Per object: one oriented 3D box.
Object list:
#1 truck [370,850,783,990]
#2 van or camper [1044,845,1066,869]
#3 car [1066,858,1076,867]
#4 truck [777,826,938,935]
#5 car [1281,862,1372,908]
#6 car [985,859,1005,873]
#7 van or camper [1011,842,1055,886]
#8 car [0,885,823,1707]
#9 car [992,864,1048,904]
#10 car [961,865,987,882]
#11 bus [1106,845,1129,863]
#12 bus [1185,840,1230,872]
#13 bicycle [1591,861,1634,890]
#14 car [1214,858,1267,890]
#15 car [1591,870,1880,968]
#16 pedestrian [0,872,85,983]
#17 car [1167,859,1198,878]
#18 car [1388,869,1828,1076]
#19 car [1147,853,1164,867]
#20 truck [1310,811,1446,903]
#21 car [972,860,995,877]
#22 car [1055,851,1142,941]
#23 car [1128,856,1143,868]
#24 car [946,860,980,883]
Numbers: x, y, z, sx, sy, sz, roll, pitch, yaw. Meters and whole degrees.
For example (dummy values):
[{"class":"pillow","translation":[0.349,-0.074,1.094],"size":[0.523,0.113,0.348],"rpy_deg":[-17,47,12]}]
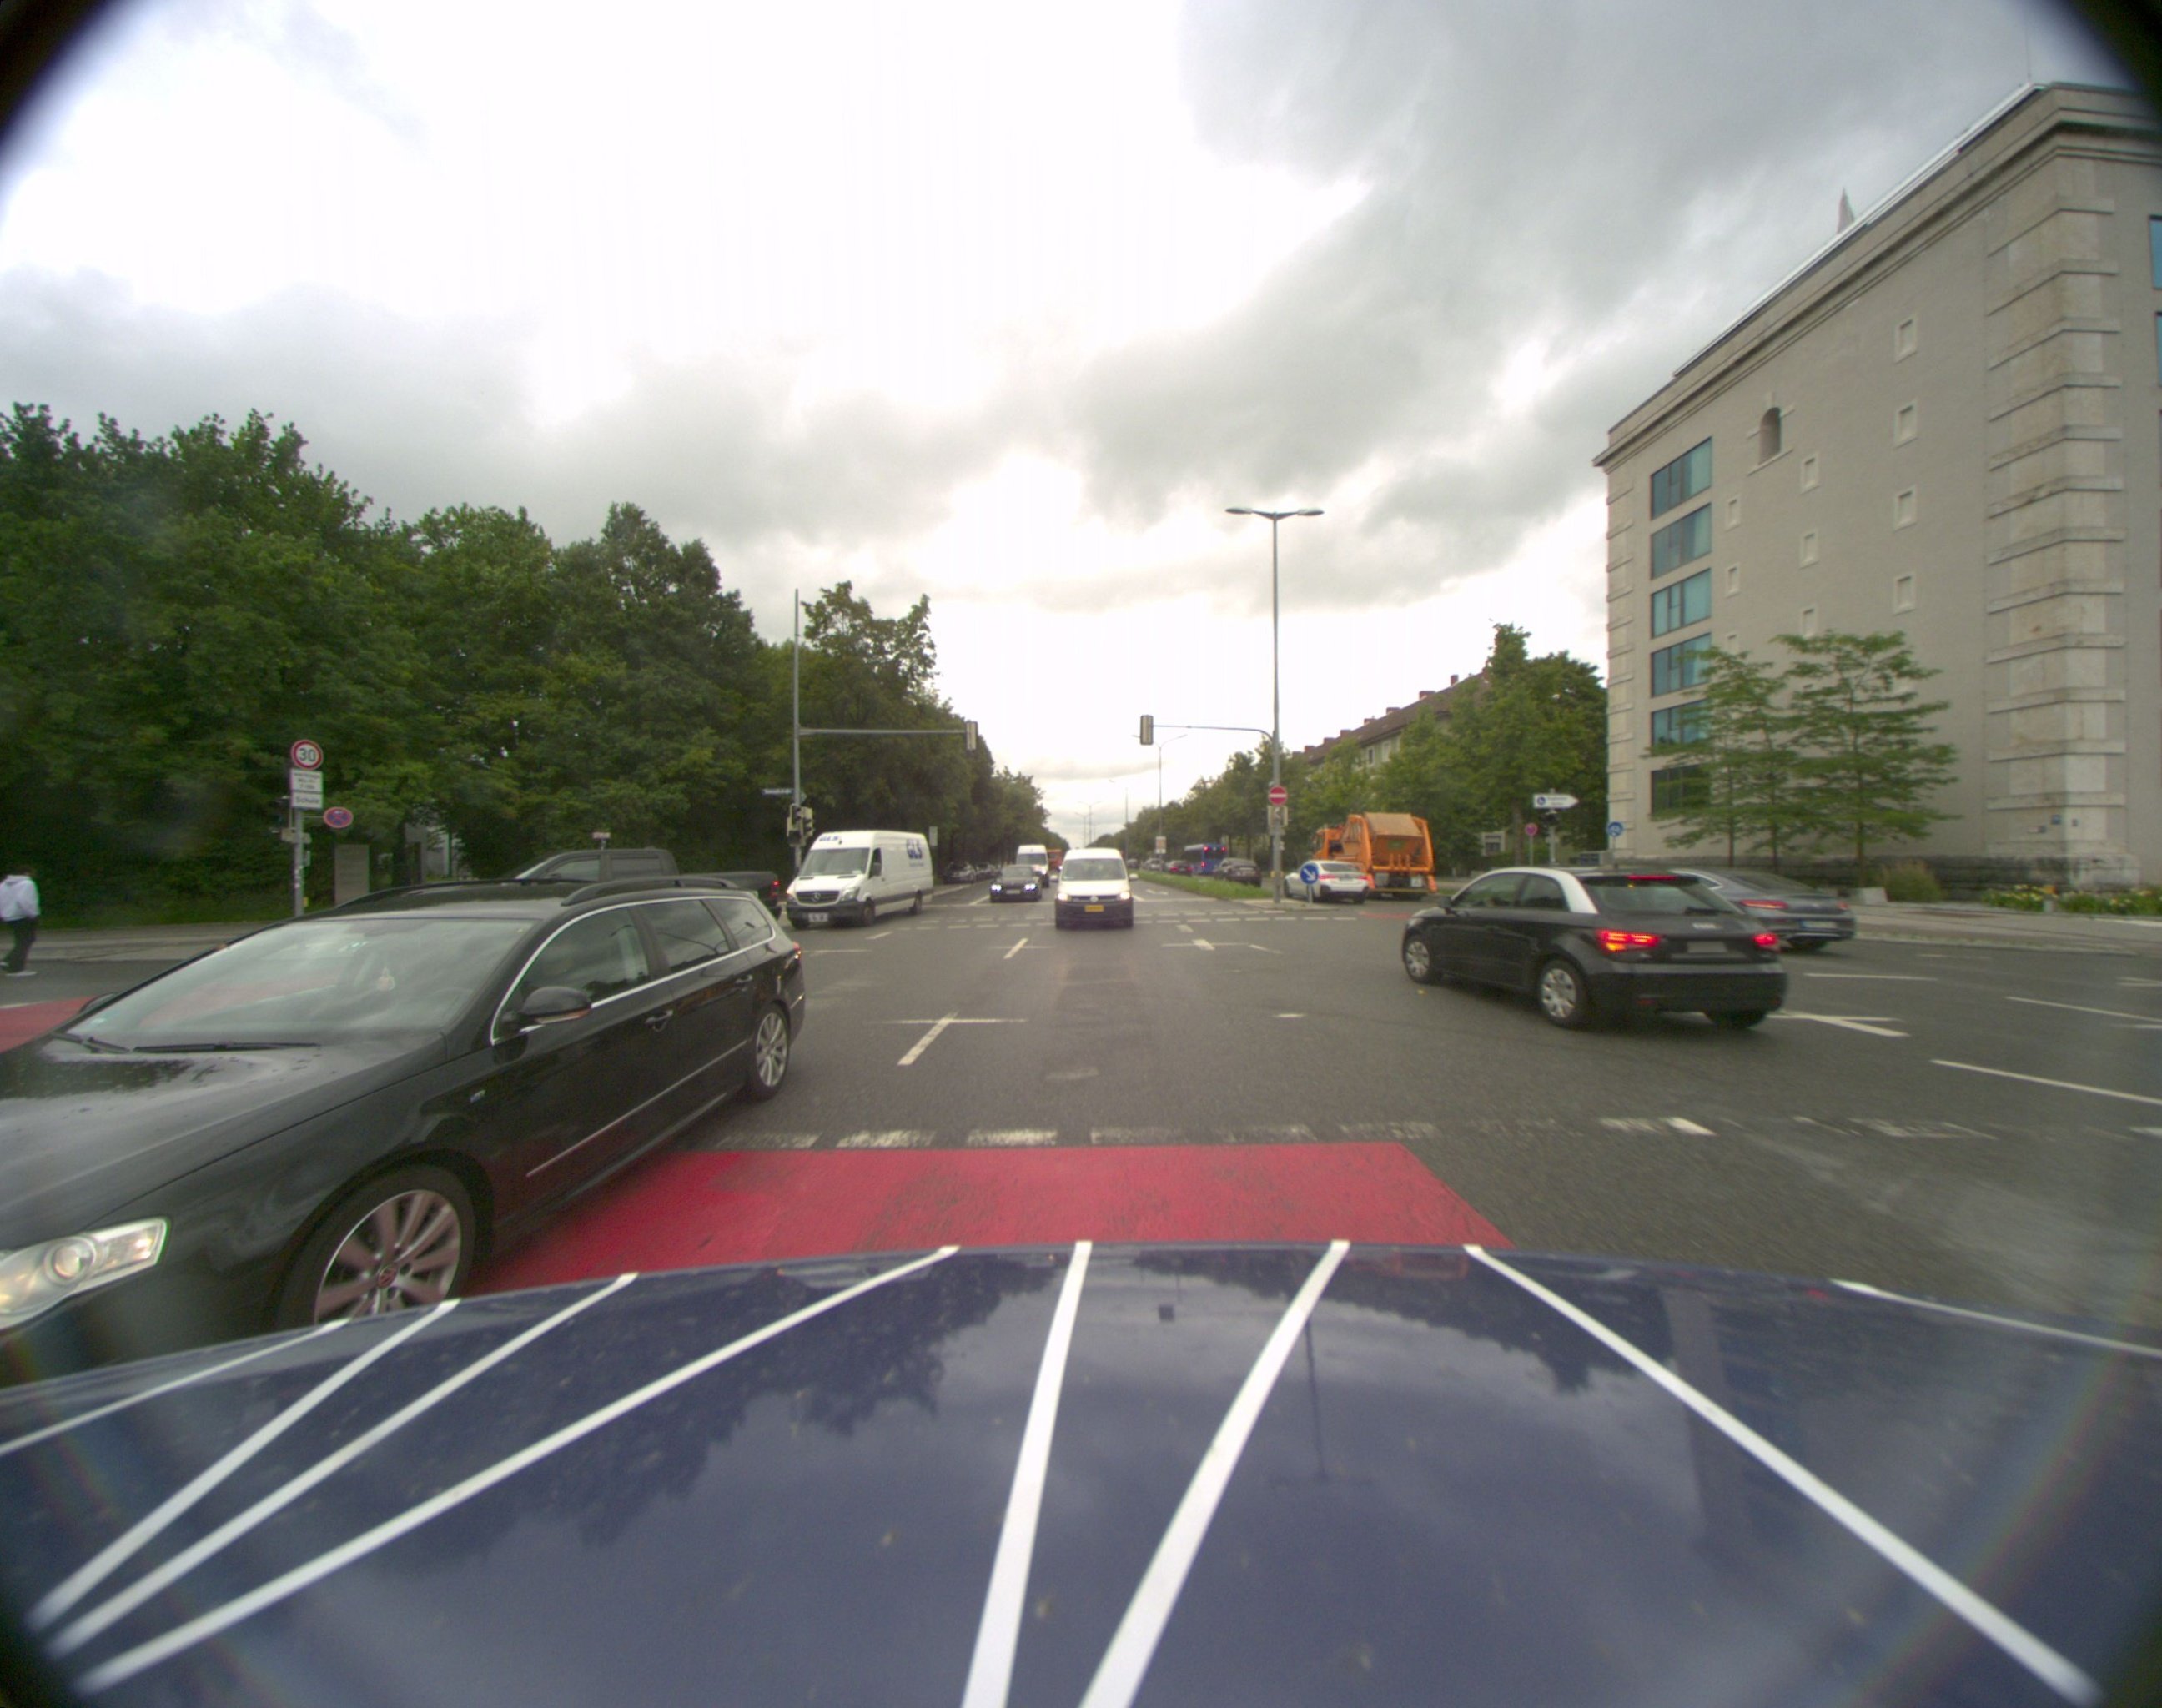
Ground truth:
[{"class":"truck","translation":[-8.665,0.942,13.636],"size":[2.100,2.002,5.825],"rpy_deg":[0,0,43]},{"class":"van or camper","translation":[-3.676,0.404,108.328],"size":[2.780,3.219,7.075],"rpy_deg":[0,0,1]},{"class":"car","translation":[-2.094,1.762,161.511],"size":[1.998,2.002,4.000],"rpy_deg":[0,0,1]},{"class":"truck","translation":[-6.089,0.643,21.978],"size":[1.998,2.588,7.229],"rpy_deg":[-1,0,4]},{"class":"car","translation":[8.679,1.034,27.308],"size":[1.732,1.478,4.742],"rpy_deg":[0,0,0]},{"class":"car","translation":[-9.420,1.283,83.510],"size":[1.752,1.458,4.255],"rpy_deg":[-1,0,-1]},{"class":"van or camper","translation":[-2.885,0.594,47.459],"size":[2.183,2.546,7.075],"rpy_deg":[0,0,1]},{"class":"car","translation":[-2.831,0.980,3.475],"size":[1.752,1.466,4.671],"rpy_deg":[-1,0,-1]},{"class":"car","translation":[-2.373,1.143,30.545],"size":[1.819,1.421,4.672],"rpy_deg":[-1,0,1]},{"class":"car","translation":[-9.457,1.674,67.430],"size":[1.752,1.420,4.255],"rpy_deg":[-1,0,-1]},{"class":"bus","translation":[6.927,0.027,145.805],"size":[2.753,3.323,12.269],"rpy_deg":[1,0,-4]},{"class":"bus","translation":[13.957,0.239,84.749],"size":[2.752,3.323,12.048],"rpy_deg":[1,0,-1]},{"class":"bicycle","translation":[22.807,0.910,32.641],"size":[0.546,1.174,1.826],"rpy_deg":[-1,0,0]},{"class":"car","translation":[8.583,1.018,41.322],"size":[1.867,1.532,4.750],"rpy_deg":[3,0,1]},{"class":"car","translation":[11.666,1.061,14.007],"size":[1.727,1.408,4.216],"rpy_deg":[1,0,1]},{"class":"pedestrian","translation":[-17.043,1.155,12.236],"size":[0.762,1.693,0.938],"rpy_deg":[-1,0,-9]},{"class":"car","translation":[8.512,1.170,64.107],"size":[1.931,1.453,4.898],"rpy_deg":[2,0,-1]},{"class":"car","translation":[4.738,0.920,7.591],"size":[1.644,1.478,3.780],"rpy_deg":[0,0,-3]},{"class":"car","translation":[10.308,0.851,105.154],"size":[1.784,1.801,4.430],"rpy_deg":[2,0,-2]},{"class":"truck","translation":[11.939,0.140,31.351],"size":[2.787,3.336,7.266],"rpy_deg":[0,0,0]},{"class":"car","translation":[-9.349,1.370,73.306],"size":[1.752,1.640,4.255],"rpy_deg":[-1,0,-1]},{"class":"car","translation":[0.322,0.854,17.733],"size":[1.752,1.808,4.671],"rpy_deg":[-1,0,-1]},{"class":"car","translation":[7.562,1.084,105.364],"size":[1.702,1.560,4.291],"rpy_deg":[0,0,-2]},{"class":"car","translation":[-8.748,1.280,56.576],"size":[1.884,1.640,4.396],"rpy_deg":[-1,0,-1]}]
